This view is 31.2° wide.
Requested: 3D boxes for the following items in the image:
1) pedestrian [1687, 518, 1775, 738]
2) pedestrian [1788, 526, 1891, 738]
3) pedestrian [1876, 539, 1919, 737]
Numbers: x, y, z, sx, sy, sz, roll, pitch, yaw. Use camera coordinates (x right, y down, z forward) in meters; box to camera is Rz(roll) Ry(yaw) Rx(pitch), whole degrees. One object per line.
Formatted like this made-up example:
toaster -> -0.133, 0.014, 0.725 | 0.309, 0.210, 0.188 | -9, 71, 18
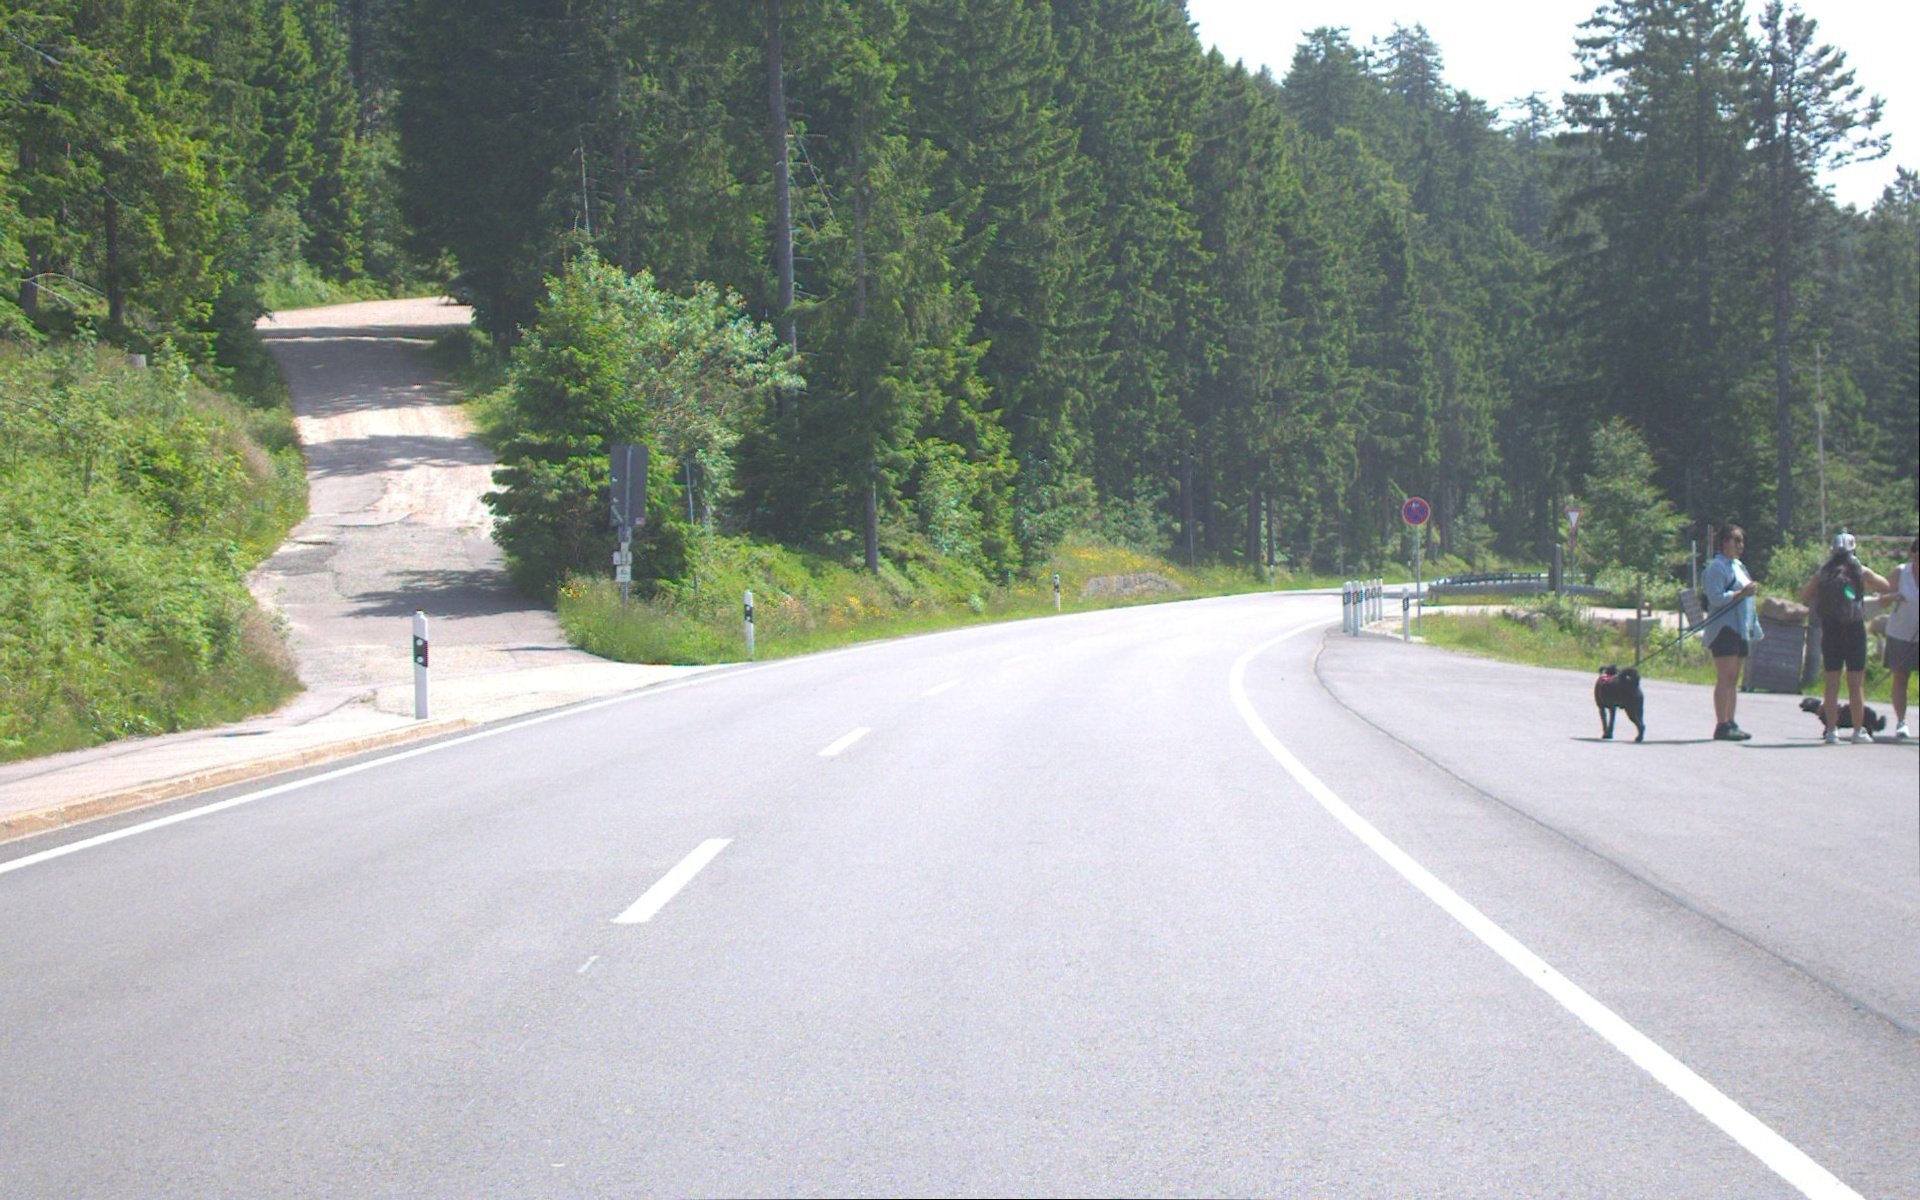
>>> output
pedestrian -> 6.276, 0.216, 28.019 | 0.617, 1.769, 0.723 | 0, 1, 6
pedestrian -> 7.094, 0.248, 27.750 | 0.716, 1.686, 0.619 | 0, 1, 6
pedestrian -> 8.197, 0.318, 29.380 | 0.653, 1.654, 0.687 | -1, 2, 12
